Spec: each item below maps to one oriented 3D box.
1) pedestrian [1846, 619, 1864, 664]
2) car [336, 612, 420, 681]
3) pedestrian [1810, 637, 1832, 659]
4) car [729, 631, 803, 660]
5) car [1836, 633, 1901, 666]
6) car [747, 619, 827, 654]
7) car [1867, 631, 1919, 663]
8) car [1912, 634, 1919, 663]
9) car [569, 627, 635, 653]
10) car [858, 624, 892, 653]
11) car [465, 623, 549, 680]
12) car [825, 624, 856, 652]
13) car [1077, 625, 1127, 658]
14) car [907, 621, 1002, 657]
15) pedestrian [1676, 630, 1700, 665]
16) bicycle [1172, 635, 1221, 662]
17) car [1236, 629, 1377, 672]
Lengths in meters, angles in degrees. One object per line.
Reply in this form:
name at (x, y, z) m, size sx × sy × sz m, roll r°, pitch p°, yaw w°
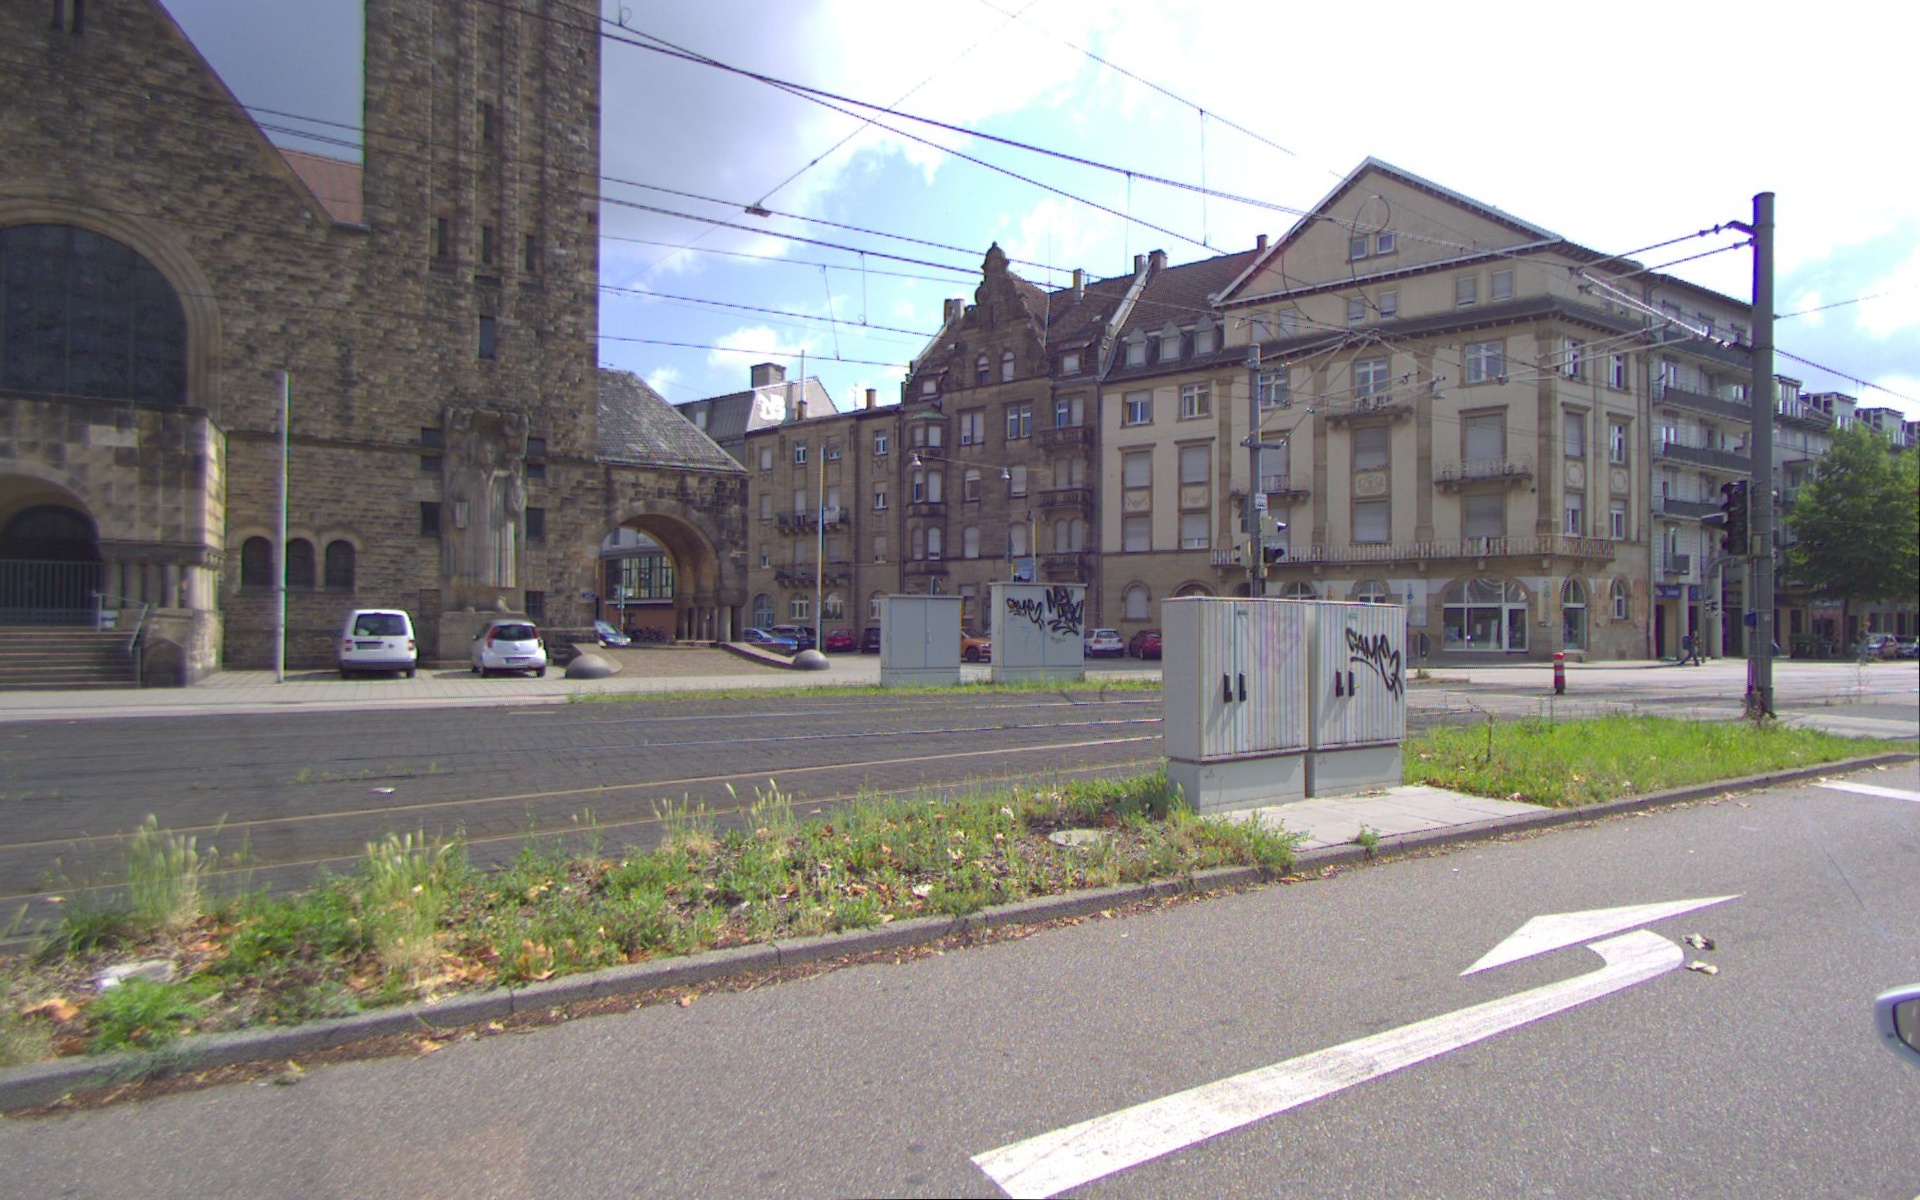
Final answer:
pedestrian at (40.180, 1.856, 45.094) m, size 0.415 × 2.040 × 0.474 m, roll 1°, pitch -2°, yaw -35°
car at (-16.252, 1.246, 27.963) m, size 1.874 × 1.771 × 3.849 m, roll 1°, pitch -2°, yaw -32°
pedestrian at (50.424, 2.810, 58.830) m, size 0.695 × 1.227 × 0.750 m, roll 1°, pitch -2°, yaw -30°
car at (-10.307, 2.380, 53.197) m, size 3.933 × 1.449 × 1.532 m, roll -1°, pitch -2°, yaw 34°
car at (58.275, 3.127, 64.443) m, size 3.953 × 2.040 × 1.984 m, roll 1°, pitch -2°, yaw -30°
car at (-10.402, 2.175, 60.167) m, size 4.727 × 2.040 × 1.994 m, roll -1°, pitch -2°, yaw 35°
car at (62.401, 3.100, 66.766) m, size 3.953 × 2.040 × 1.984 m, roll 1°, pitch -2°, yaw -30°
car at (69.553, 3.423, 71.194) m, size 3.953 × 2.040 × 1.984 m, roll 1°, pitch -2°, yaw -30°
car at (-20.492, 2.256, 57.400) m, size 3.719 × 1.449 × 1.709 m, roll -1°, pitch -2°, yaw 34°
car at (-5.207, 2.363, 61.950) m, size 1.753 × 1.750 × 4.001 m, roll 0°, pitch -2°, yaw 1°
car at (-13.089, 1.432, 28.941) m, size 1.833 × 1.522 × 3.249 m, roll 1°, pitch -2°, yaw -31°
car at (-7.514, 2.397, 63.516) m, size 1.617 × 1.718 × 3.859 m, roll 0°, pitch -2°, yaw -2°
car at (7.456, 2.161, 53.187) m, size 1.768 × 1.661 × 3.998 m, roll 0°, pitch -2°, yaw -5°
car at (-0.280, 1.765, 46.088) m, size 4.258 × 1.567 × 1.625 m, roll -1°, pitch -2°, yaw 37°
pedestrian at (33.463, 2.169, 46.164) m, size 0.847 × 1.617 × 0.692 m, roll -1°, pitch -2°, yaw 34°
bicycle at (11.712, 2.369, 49.892) m, size 0.982 × 1.270 × 3.313 m, roll 0°, pitch -2°, yaw -13°
car at (12.466, 1.768, 36.269) m, size 4.498 × 1.455 × 1.700 m, roll -1°, pitch -2°, yaw 37°
